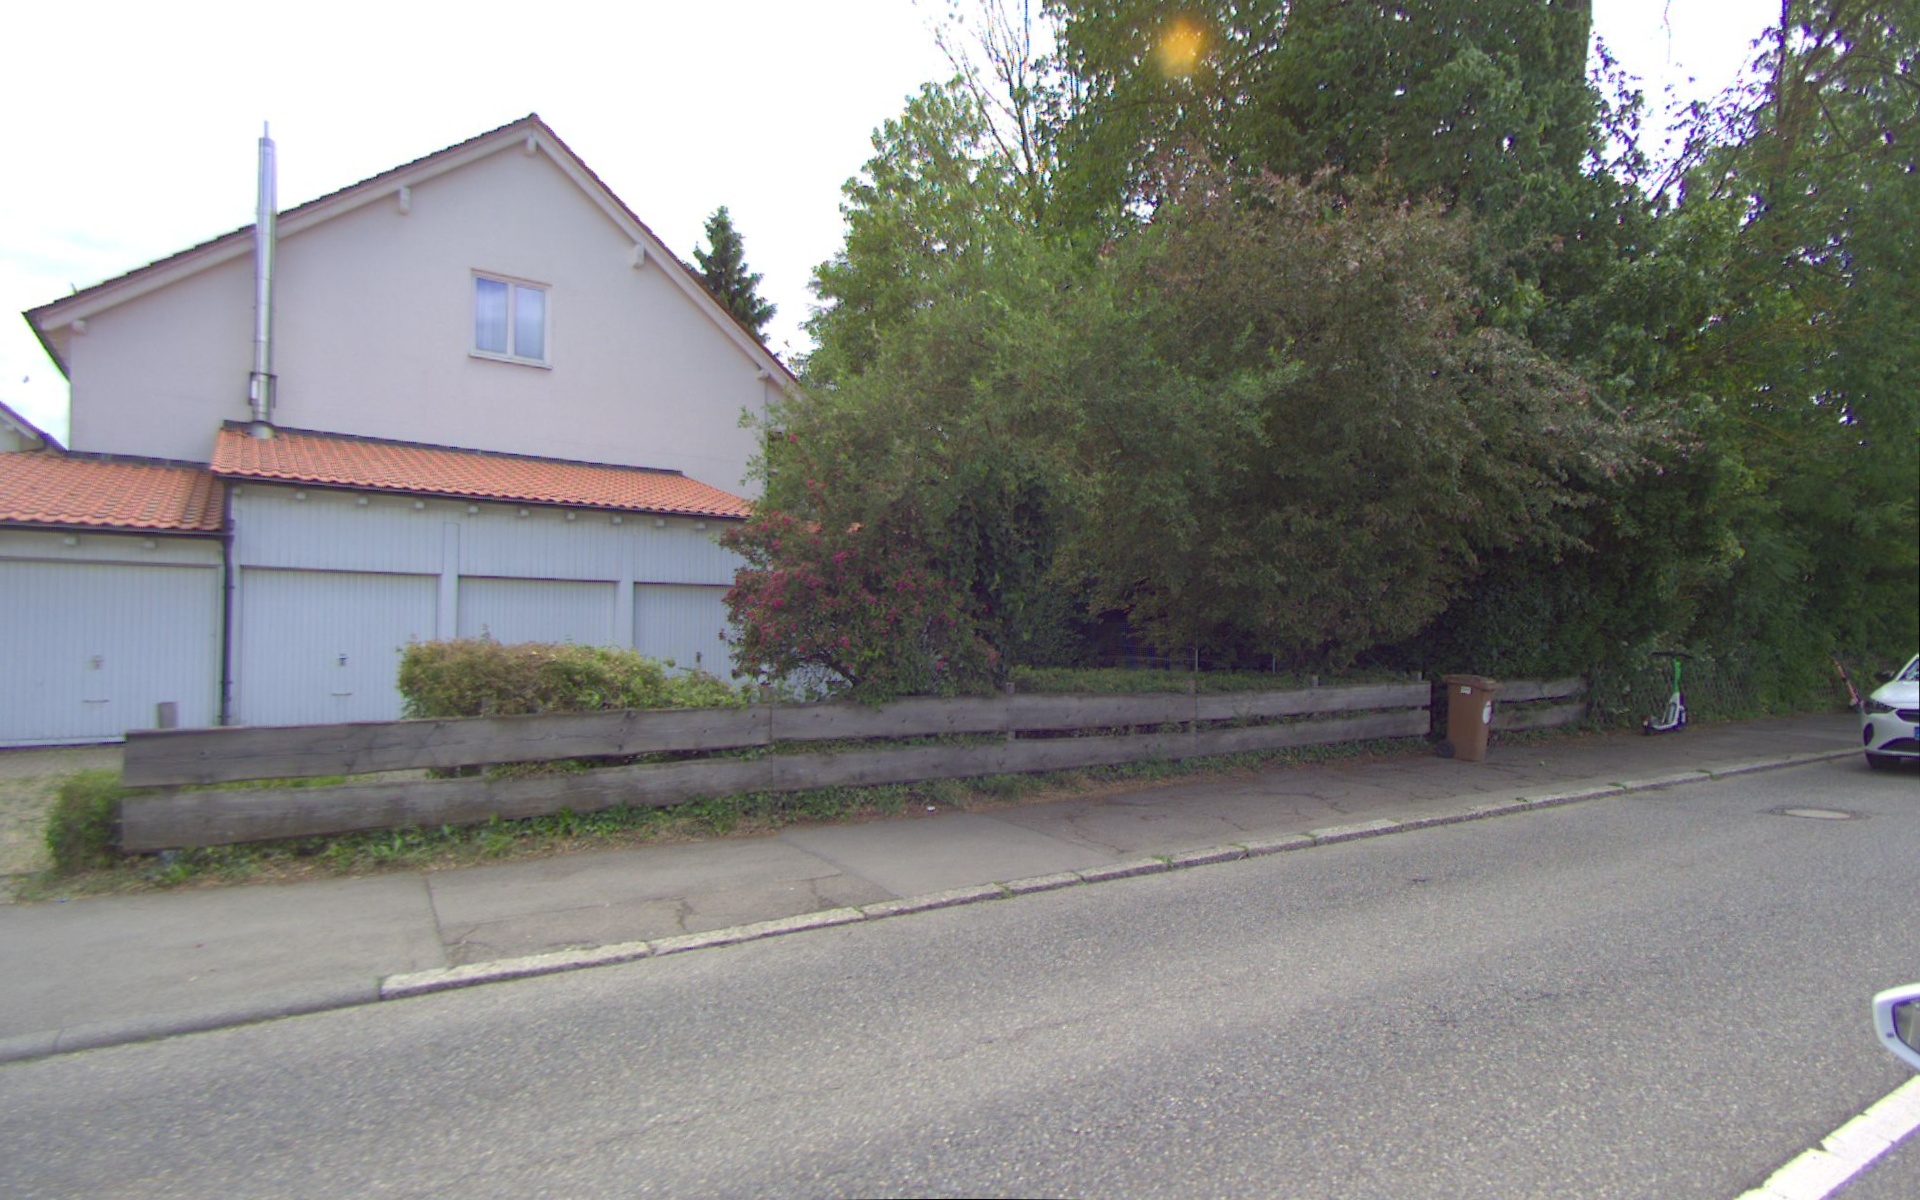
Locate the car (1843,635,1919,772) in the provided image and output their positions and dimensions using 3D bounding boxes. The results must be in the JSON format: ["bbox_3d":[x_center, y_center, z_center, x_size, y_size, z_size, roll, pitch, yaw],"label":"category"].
[{"bbox_3d":[11.830,1.128,11.460,3.747,1.449,1.684,2,-4,-34],"label":"car"}]

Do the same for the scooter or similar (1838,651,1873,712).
[{"bbox_3d":[16.962,1.528,19.043,0.472,1.095,1.208,1,-1,41],"label":"scooter or similar"}]

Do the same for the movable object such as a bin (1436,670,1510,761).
[{"bbox_3d":[5.761,1.279,11.286,0.562,0.957,0.511,1,0,-30],"label":"movable object such as a bin"}]

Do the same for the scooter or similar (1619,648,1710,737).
[{"bbox_3d":[10.176,1.309,14.500,1.619,1.215,0.407,1,-2,-29],"label":"scooter or similar"}]
